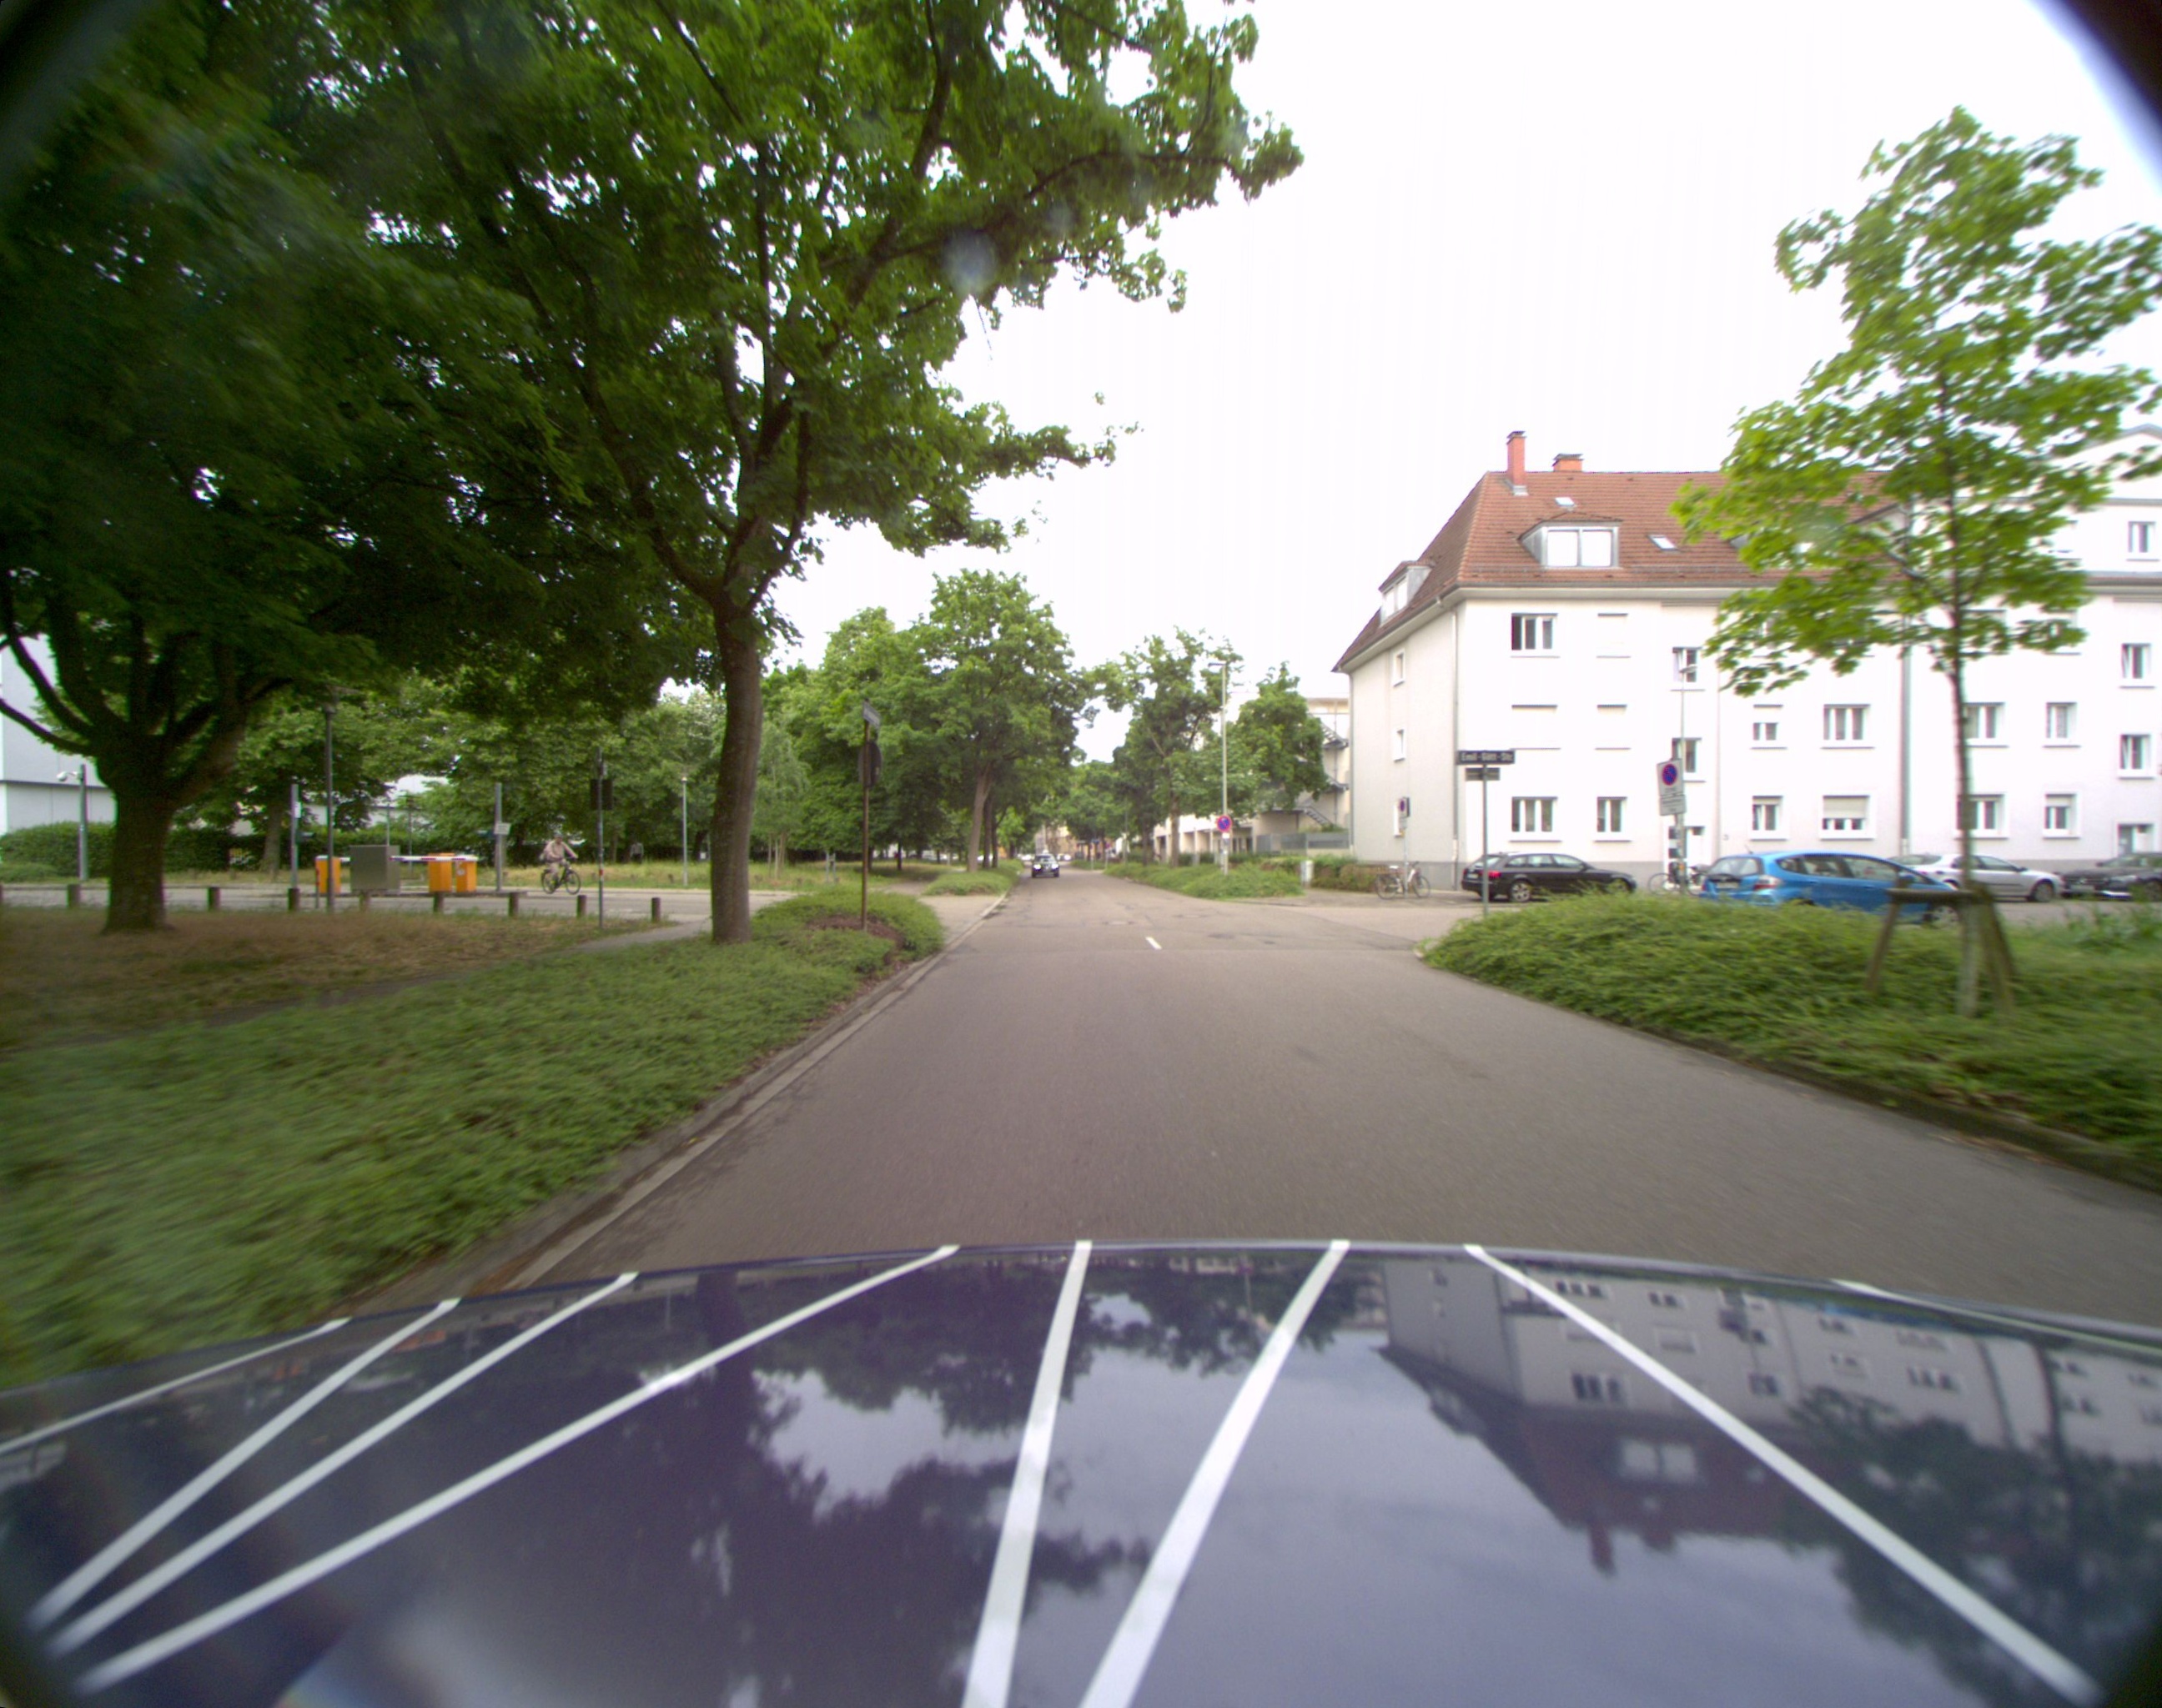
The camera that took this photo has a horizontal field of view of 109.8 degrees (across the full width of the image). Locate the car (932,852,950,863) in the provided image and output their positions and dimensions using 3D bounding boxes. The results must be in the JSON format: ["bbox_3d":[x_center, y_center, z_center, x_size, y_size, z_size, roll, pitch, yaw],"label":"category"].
[{"bbox_3d":[-25.889,0.604,140.384,3.315,1.913,1.809,-1,0,-12],"label":"car"}]

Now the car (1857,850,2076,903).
[{"bbox_3d":[25.366,0.622,21.869,4.428,1.454,1.737,0,1,-3],"label":"car"}]

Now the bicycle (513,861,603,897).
[{"bbox_3d":[-15.786,0.744,22.970,2.140,1.068,0.869,0,1,1],"label":"bicycle"}]

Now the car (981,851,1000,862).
[{"bbox_3d":[-16.939,0.419,141.822,3.315,1.913,1.809,-1,0,-12],"label":"car"}]

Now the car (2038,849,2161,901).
[{"bbox_3d":[31.184,0.583,22.202,4.320,1.454,1.787,0,1,-3],"label":"car"}]

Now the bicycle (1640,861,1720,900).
[{"bbox_3d":[18.730,0.818,23.784,1.894,1.194,0.751,0,3,-1],"label":"bicycle"}]

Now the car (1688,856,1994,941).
[{"bbox_3d":[13.942,0.802,14.103,3.954,1.453,1.736,0,-2,-1],"label":"car"}]

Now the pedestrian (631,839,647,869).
[{"bbox_3d":[-26.103,-0.005,44.892,0.543,1.787,0.573,1,1,10],"label":"pedestrian"}]

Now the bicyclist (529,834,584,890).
[{"bbox_3d":[-15.869,0.236,23.020,0.922,1.635,1.020,0,1,1],"label":"bicyclist"}]

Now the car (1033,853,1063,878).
[{"bbox_3d":[-2.297,0.771,53.652,1.999,1.478,4.538,-1,2,-1],"label":"car"}]

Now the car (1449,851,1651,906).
[{"bbox_3d":[13.464,0.671,21.982,4.723,1.454,1.865,0,1,-3],"label":"car"}]

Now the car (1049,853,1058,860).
[{"bbox_3d":[-6.567,0.571,183.512,1.785,1.754,3.659,0,0,-9],"label":"car"}]

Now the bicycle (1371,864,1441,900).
[{"bbox_3d":[9.933,0.852,23.237,1.887,0.998,0.569,-2,3,-1],"label":"bicycle"}]
